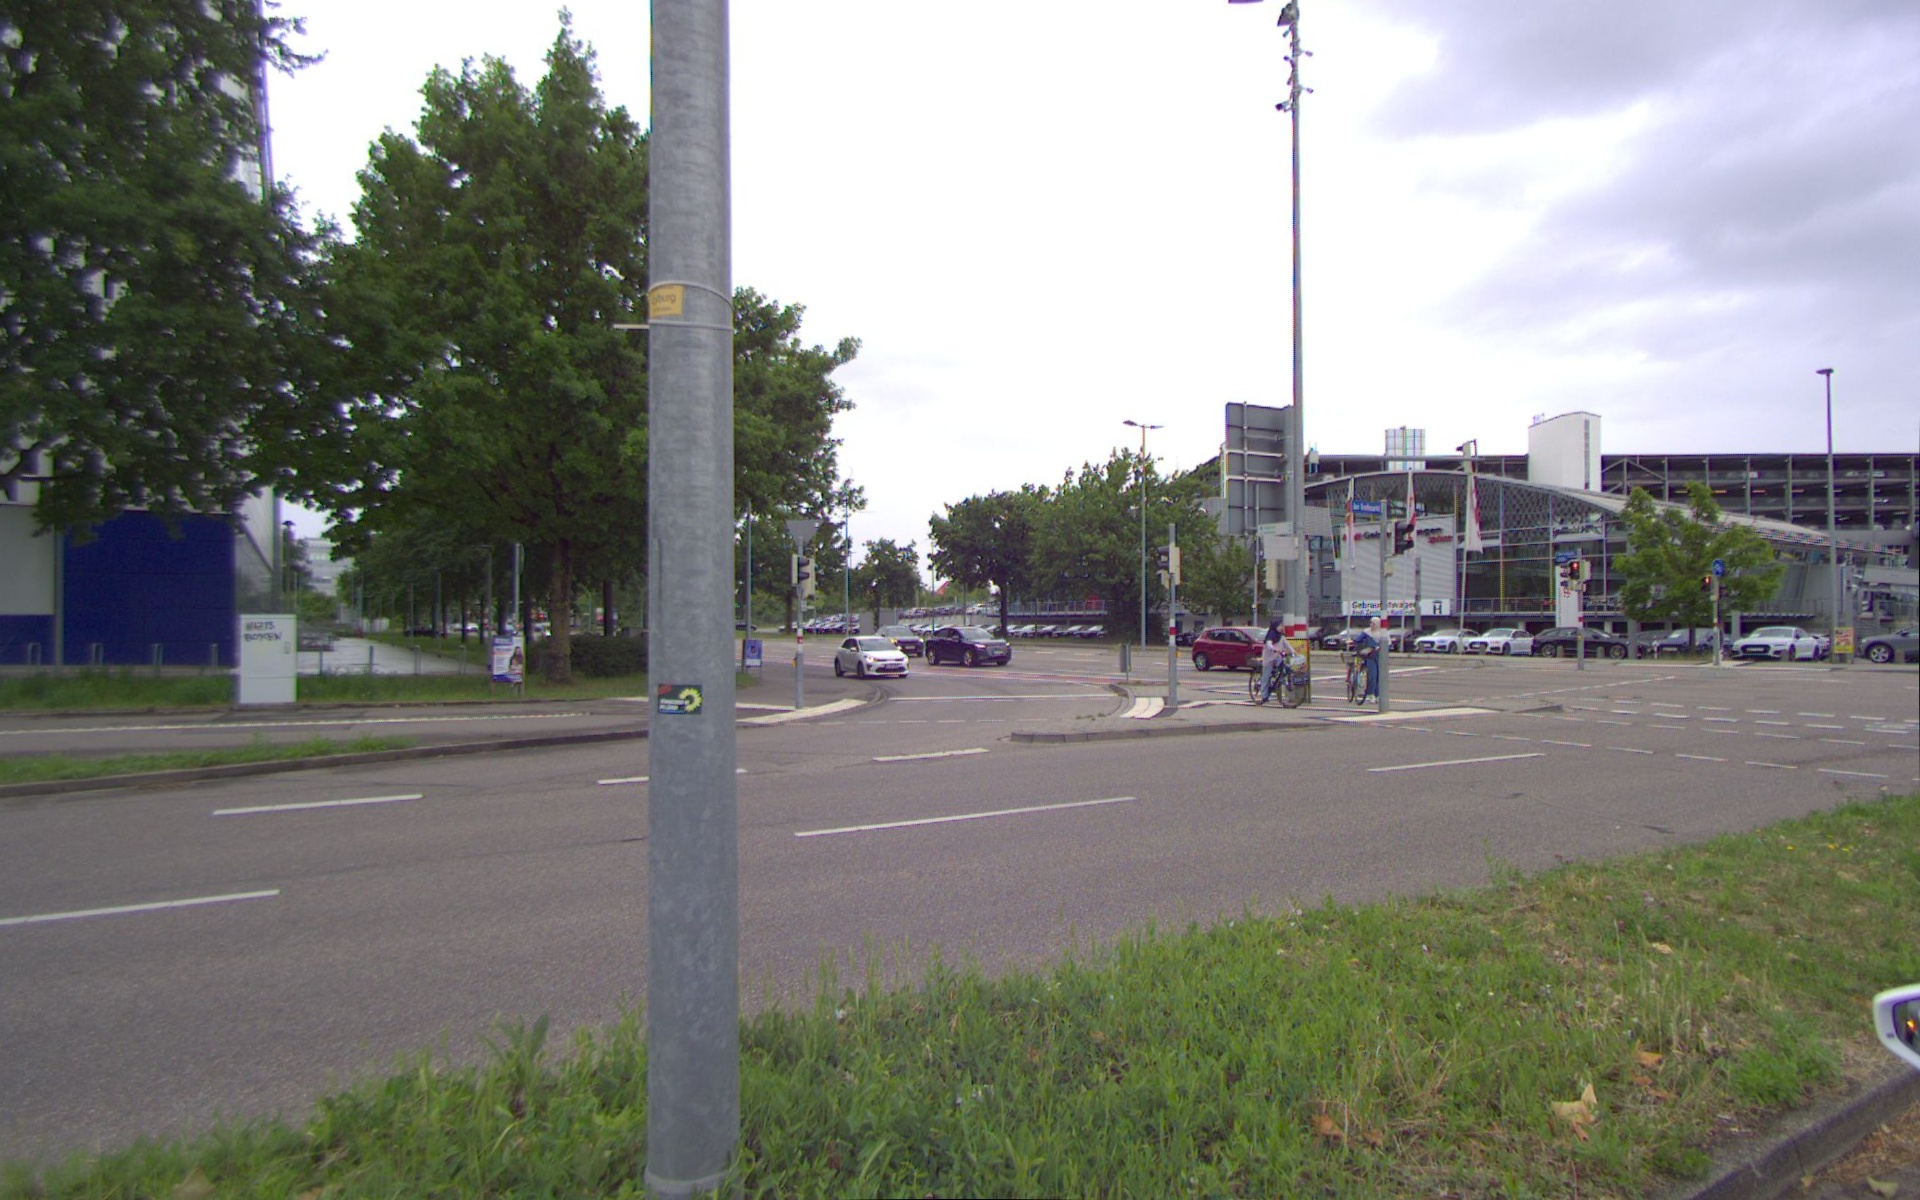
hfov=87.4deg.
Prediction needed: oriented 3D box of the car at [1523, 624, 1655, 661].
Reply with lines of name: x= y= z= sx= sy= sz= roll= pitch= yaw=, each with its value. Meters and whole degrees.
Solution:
car: x=28.373 y=1.894 z=45.451 sx=1.873 sy=1.505 sz=4.713 roll=4 pitch=-4 yaw=-32

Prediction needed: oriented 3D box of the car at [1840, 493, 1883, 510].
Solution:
car: x=116.531 y=-12.734 z=129.885 sx=1.960 sy=1.689 sz=4.001 roll=1 pitch=0 yaw=2

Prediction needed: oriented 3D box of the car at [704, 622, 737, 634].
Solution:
car: x=-31.645 y=3.733 z=132.632 sx=3.949 sy=1.455 sz=1.718 roll=2 pitch=0 yaw=-27

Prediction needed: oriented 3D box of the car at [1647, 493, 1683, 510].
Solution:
car: x=91.551 y=-12.772 z=130.568 sx=1.960 sy=1.689 sz=4.001 roll=1 pitch=0 yaw=2

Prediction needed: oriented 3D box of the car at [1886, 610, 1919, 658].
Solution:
car: x=42.261 y=1.402 z=41.869 sx=2.243 sy=2.040 sz=4.993 roll=2 pitch=-4 yaw=-34

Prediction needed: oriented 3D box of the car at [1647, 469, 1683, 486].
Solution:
car: x=91.679 y=-15.921 z=130.621 sx=1.960 sy=1.689 sz=4.001 roll=1 pitch=0 yaw=2

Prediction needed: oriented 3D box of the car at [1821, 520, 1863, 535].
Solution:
car: x=114.155 y=-9.368 z=130.089 sx=1.960 sy=1.689 sz=4.001 roll=1 pitch=0 yaw=2

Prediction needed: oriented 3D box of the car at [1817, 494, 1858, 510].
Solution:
car: x=113.560 y=-12.688 z=130.016 sx=1.960 sy=1.689 sz=4.001 roll=1 pitch=0 yaw=2

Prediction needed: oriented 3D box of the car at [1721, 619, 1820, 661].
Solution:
car: x=32.004 y=1.601 z=39.650 sx=4.184 sy=1.505 sz=1.858 roll=3 pitch=-3 yaw=-33

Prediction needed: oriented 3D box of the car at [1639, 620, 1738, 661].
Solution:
car: x=30.489 y=1.745 z=42.005 sx=4.473 sy=1.505 sz=2.050 roll=4 pitch=-5 yaw=-35

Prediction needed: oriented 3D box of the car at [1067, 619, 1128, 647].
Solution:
car: x=10.197 y=2.448 z=74.152 sx=4.210 sy=1.622 sz=1.858 roll=8 pitch=-4 yaw=-34

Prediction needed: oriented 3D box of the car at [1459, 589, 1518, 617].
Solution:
car: x=34.713 y=0.202 z=65.988 sx=3.960 sy=1.684 sz=1.807 roll=2 pitch=0 yaw=-35

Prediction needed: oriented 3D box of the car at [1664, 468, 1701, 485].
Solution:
car: x=94.047 y=-16.065 z=130.792 sx=1.960 sy=1.689 sz=4.001 roll=1 pitch=0 yaw=2

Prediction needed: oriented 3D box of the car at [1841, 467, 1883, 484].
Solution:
car: x=116.713 y=-16.095 z=129.984 sx=1.960 sy=1.689 sz=4.001 roll=1 pitch=0 yaw=2

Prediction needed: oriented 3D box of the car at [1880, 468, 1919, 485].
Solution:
car: x=122.092 y=-15.964 z=130.305 sx=1.960 sy=1.689 sz=4.001 roll=1 pitch=0 yaw=2

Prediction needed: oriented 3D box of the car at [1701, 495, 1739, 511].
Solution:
car: x=98.624 y=-12.563 z=130.370 sx=1.960 sy=1.689 sz=4.001 roll=1 pitch=0 yaw=2

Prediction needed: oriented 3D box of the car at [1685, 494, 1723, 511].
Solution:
car: x=96.439 y=-12.625 z=130.265 sx=1.960 sy=1.689 sz=4.001 roll=1 pitch=0 yaw=2

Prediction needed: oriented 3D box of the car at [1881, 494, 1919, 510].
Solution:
car: x=121.910 y=-12.684 z=129.866 sx=1.960 sy=1.689 sz=4.001 roll=1 pitch=0 yaw=2

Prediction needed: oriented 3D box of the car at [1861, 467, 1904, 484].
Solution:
car: x=119.333 y=-16.099 z=129.941 sx=1.960 sy=1.689 sz=4.001 roll=1 pitch=0 yaw=2

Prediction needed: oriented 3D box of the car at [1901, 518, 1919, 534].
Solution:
car: x=126.672 y=-9.760 z=131.290 sx=2.167 sy=1.971 sz=5.331 roll=1 pitch=0 yaw=-1

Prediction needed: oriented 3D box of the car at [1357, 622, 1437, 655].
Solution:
car: x=22.984 y=2.019 z=52.795 sx=4.188 sy=1.505 sz=1.855 roll=4 pitch=-3 yaw=-33

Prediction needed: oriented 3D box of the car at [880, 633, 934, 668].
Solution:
car: x=-2.719 y=2.481 z=50.416 sx=1.854 sy=1.565 sz=4.586 roll=-2 pitch=-1 yaw=-14

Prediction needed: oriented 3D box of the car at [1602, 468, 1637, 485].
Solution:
car: x=86.109 y=-16.088 z=131.207 sx=1.960 sy=1.689 sz=4.001 roll=1 pitch=0 yaw=2

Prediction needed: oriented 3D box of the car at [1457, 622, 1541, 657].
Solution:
car: x=26.011 y=1.902 z=48.439 sx=4.154 sy=1.505 sz=1.836 roll=4 pitch=-3 yaw=-33

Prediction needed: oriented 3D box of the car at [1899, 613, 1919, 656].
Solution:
car: x=44.293 y=1.461 z=43.559 sx=2.034 sy=1.900 sz=4.914 roll=2 pitch=-4 yaw=-35

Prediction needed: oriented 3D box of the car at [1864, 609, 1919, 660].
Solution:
car: x=39.712 y=1.380 z=40.338 sx=1.979 sy=2.040 sz=4.674 roll=2 pitch=-4 yaw=-34

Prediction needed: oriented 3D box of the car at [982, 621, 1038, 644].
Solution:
car: x=4.126 y=2.716 z=82.823 sx=4.153 sy=1.505 sz=1.959 roll=7 pitch=-3 yaw=-33

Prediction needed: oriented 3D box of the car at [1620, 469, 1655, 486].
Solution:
car: x=88.503 y=-16.014 z=131.315 sx=1.960 sy=1.689 sz=4.001 roll=1 pitch=0 yaw=2

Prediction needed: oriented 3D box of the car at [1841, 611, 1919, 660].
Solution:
car: x=37.576 y=1.388 z=38.954 sx=1.979 sy=1.887 sz=4.744 roll=2 pitch=-4 yaw=-34

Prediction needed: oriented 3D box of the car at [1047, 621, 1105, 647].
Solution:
car: x=8.828 y=2.573 z=76.432 sx=4.181 sy=1.504 sz=1.808 roll=8 pitch=-4 yaw=-34

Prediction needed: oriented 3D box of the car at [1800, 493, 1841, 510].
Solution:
car: x=111.414 y=-12.726 z=130.118 sx=1.960 sy=1.689 sz=4.001 roll=1 pitch=0 yaw=2

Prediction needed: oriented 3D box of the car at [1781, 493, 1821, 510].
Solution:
car: x=108.912 y=-12.745 z=130.164 sx=1.960 sy=1.689 sz=4.001 roll=1 pitch=0 yaw=2

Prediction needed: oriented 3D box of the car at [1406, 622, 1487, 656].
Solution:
car: x=24.485 y=1.962 z=50.500 sx=4.002 sy=1.505 sz=1.860 roll=4 pitch=-3 yaw=-33

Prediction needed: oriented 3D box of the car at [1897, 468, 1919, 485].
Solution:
car: x=124.336 y=-16.050 z=130.282 sx=1.960 sy=1.689 sz=4.001 roll=1 pitch=0 yaw=2

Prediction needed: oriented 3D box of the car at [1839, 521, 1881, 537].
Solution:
car: x=116.765 y=-9.212 z=130.329 sx=1.960 sy=1.689 sz=4.001 roll=1 pitch=0 yaw=2

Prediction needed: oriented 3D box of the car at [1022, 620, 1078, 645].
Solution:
car: x=7.044 y=2.567 z=78.620 sx=4.037 sy=1.505 sz=1.801 roll=7 pitch=-3 yaw=-34

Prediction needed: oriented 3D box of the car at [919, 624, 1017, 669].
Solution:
car: x=0.280 y=1.879 z=41.311 sx=1.867 sy=1.659 sz=4.292 roll=-3 pitch=0 yaw=-35

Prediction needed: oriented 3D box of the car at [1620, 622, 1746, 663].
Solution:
car: x=36.262 y=2.083 z=50.518 sx=1.978 sy=1.965 sz=4.776 roll=1 pitch=-2 yaw=-32

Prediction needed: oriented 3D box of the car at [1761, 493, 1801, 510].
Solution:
car: x=106.454 y=-12.752 z=130.275 sx=1.960 sy=1.689 sz=4.001 roll=1 pitch=0 yaw=2
